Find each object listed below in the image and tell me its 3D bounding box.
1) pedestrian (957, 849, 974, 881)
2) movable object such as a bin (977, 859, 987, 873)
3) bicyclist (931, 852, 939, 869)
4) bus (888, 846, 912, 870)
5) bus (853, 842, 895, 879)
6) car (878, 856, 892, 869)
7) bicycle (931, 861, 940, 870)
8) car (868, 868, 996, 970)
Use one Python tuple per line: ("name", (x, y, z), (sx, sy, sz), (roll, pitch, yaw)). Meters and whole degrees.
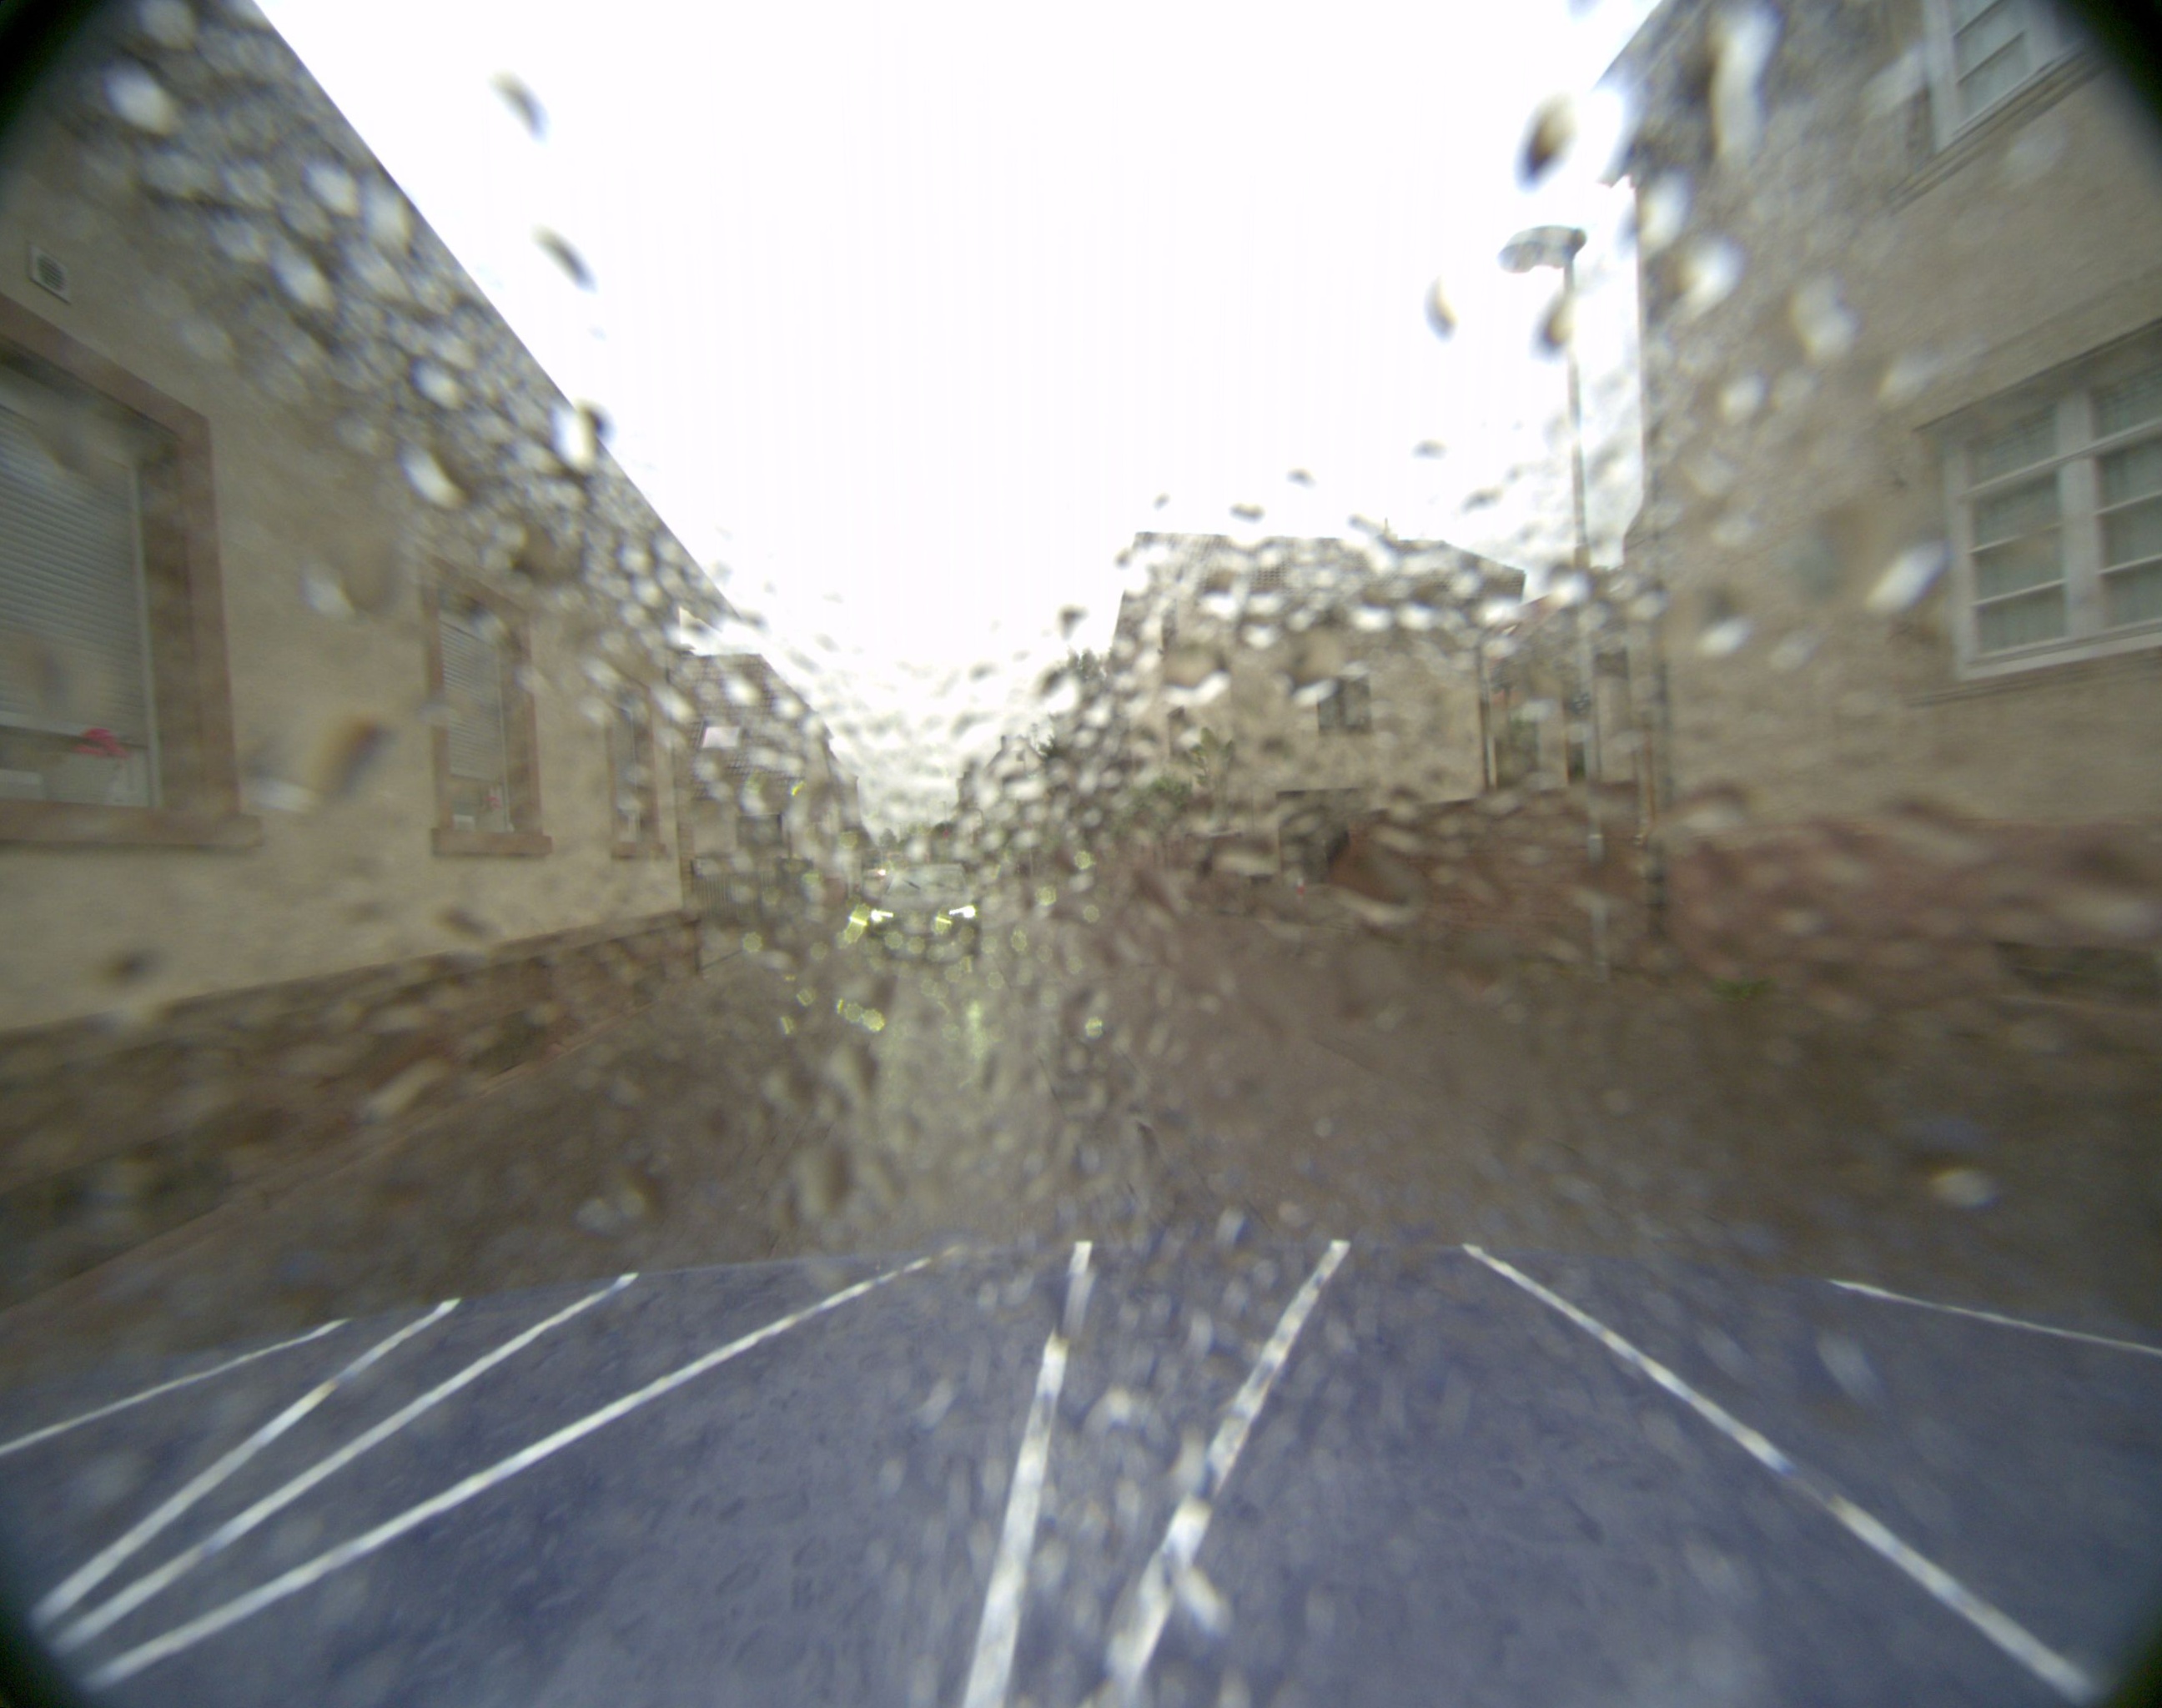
("pedestrian", (-6.386, 0.601, 41.862), (0.697, 1.722, 0.820), (-4, 1, -17))
("movable object such as a bin", (-7.227, 0.865, 55.210), (0.540, 0.925, 0.543), (-5, 2, -19))
("bicyclist", (-15.995, 0.728, 83.163), (0.659, 1.759, 0.702), (-5, 0, -19))
("bus", (-25.121, 0.547, 105.642), (2.816, 2.922, 11.927), (-5, 1, -13))
("bus", (-22.336, 0.699, 81.297), (3.445, 3.392, 13.849), (-4, 1, -18))
("car", (-34.222, 1.411, 132.496), (2.001, 2.002, 4.237), (-5, 2, -18))
("bicycle", (-15.925, 1.215, 83.187), (0.664, 0.865, 1.932), (-5, -1, -19))
("car", (-2.815, 1.010, 13.570), (1.782, 1.349, 4.182), (-4, 1, -16))
